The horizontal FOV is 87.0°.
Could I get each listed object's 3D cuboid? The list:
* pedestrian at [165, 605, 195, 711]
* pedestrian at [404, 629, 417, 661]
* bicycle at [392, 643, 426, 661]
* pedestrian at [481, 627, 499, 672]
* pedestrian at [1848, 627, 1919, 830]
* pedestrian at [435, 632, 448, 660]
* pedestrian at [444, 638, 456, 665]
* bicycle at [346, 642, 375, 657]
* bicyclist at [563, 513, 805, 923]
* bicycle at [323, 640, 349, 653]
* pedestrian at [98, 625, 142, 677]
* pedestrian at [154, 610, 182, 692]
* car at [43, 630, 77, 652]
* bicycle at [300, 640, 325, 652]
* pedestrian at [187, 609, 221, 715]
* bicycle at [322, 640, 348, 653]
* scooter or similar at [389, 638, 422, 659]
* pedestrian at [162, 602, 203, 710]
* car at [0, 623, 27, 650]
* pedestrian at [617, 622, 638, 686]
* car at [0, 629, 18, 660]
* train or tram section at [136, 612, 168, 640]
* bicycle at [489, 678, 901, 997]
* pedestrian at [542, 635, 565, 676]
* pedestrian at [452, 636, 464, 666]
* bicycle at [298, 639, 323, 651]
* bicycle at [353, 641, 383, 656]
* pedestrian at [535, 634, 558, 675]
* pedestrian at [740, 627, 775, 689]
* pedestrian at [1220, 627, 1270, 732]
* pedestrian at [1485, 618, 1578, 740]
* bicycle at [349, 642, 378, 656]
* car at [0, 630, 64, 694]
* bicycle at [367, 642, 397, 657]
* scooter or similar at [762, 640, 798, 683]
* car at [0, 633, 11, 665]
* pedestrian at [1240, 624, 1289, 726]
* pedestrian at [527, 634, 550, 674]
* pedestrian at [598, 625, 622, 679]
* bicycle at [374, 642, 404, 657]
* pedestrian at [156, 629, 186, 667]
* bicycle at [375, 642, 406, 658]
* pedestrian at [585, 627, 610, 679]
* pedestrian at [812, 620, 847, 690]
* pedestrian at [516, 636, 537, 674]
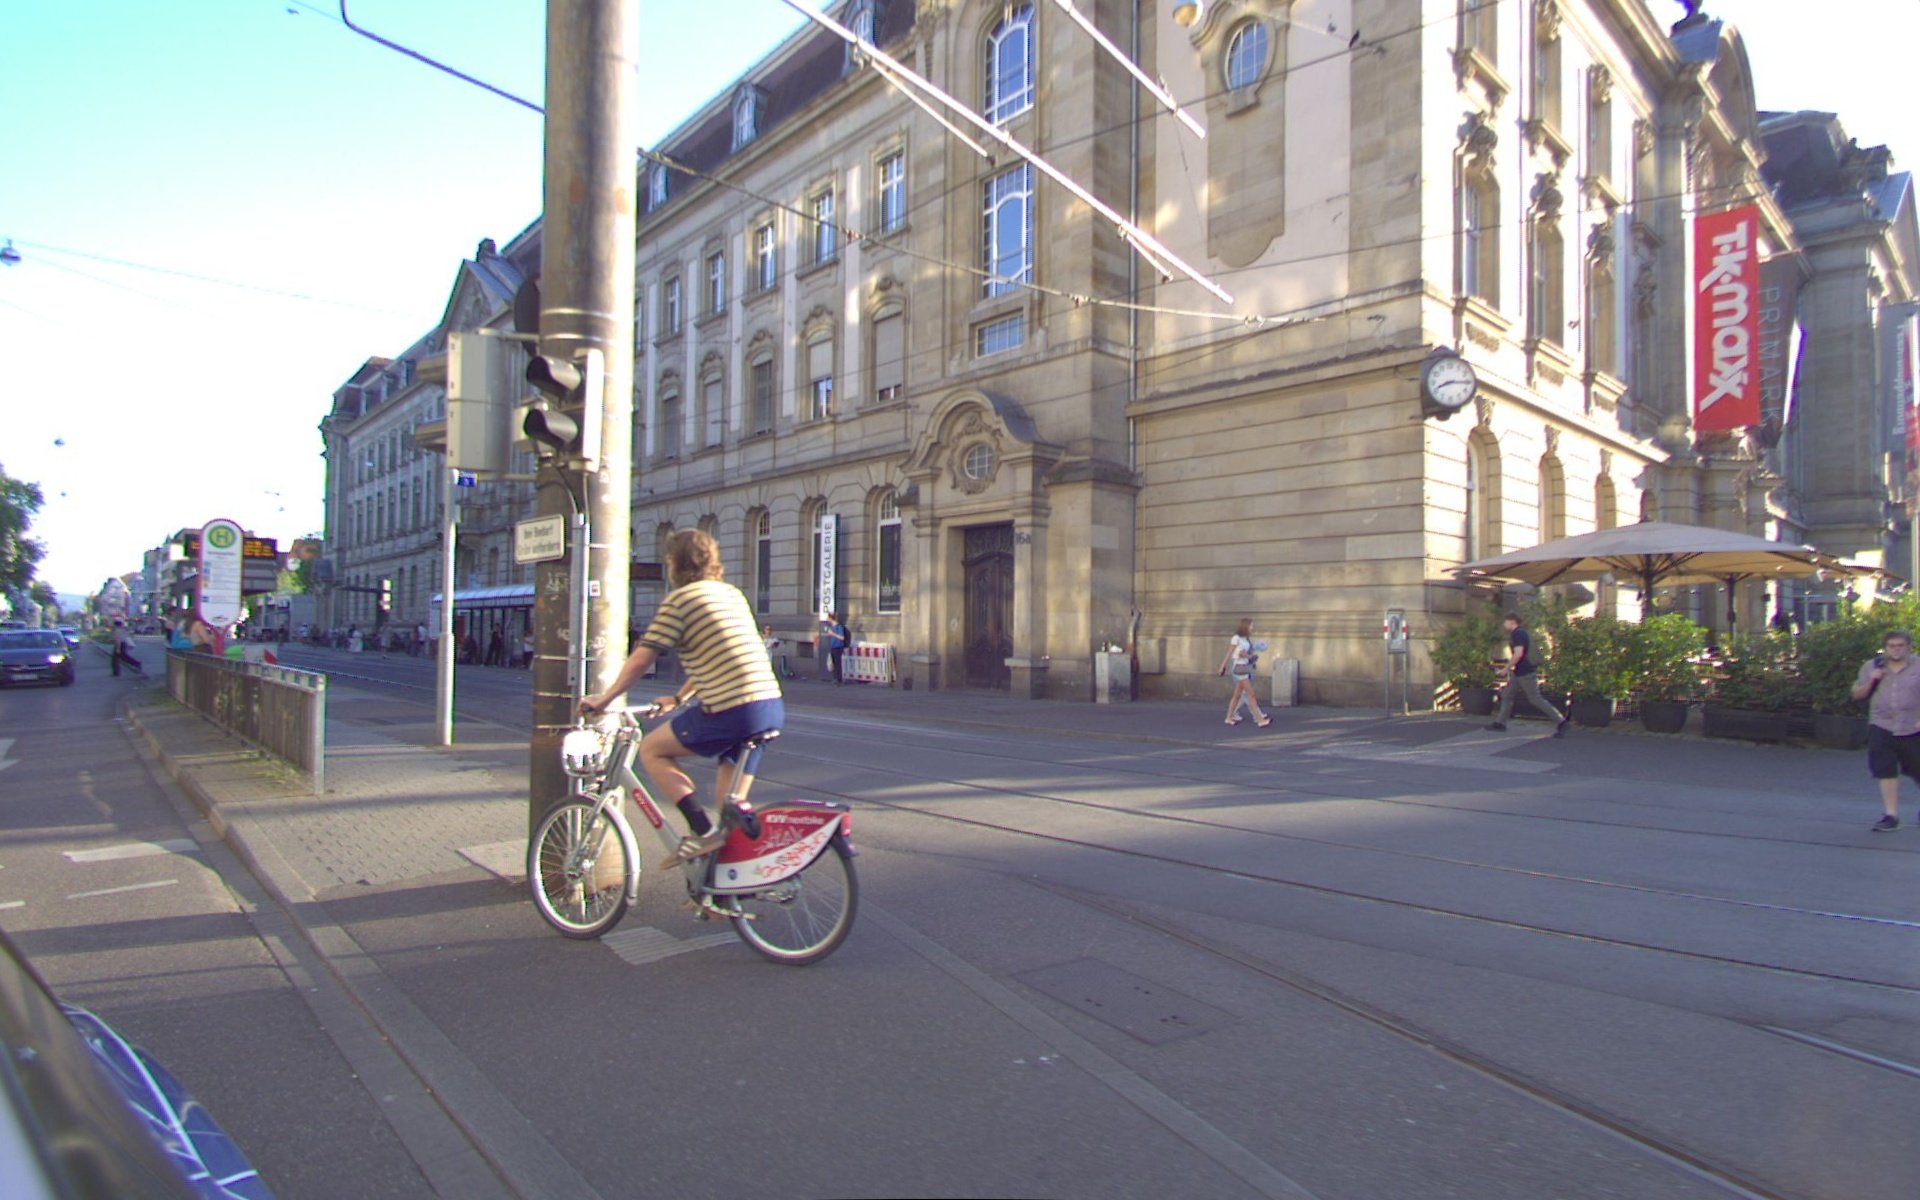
[{"bbox_3d":[-13.578,1.003,17.617,0.338,1.809,0.545,1,-2,-44],"label":"pedestrian"},{"bbox_3d":[-27.924,2.281,51.433,0.433,1.617,0.573,0,-1,-14],"label":"pedestrian"},{"bbox_3d":[-29.314,2.773,53.832,1.555,0.880,0.452,1,-1,-38],"label":"bicycle"},{"bbox_3d":[-17.653,1.853,37.997,0.510,1.663,0.640,1,-2,-20],"label":"pedestrian"},{"bbox_3d":[8.063,1.048,8.475,0.802,1.641,0.825,-1,-2,34],"label":"pedestrian"},{"bbox_3d":[-27.149,2.423,52.974,0.434,1.451,0.573,0,-1,-6],"label":"pedestrian"},{"bbox_3d":[-20.958,2.122,41.586,0.360,1.111,0.430,1,-1,-36],"label":"pedestrian"},{"bbox_3d":[-39.068,3.219,65.931,1.555,0.880,0.452,1,-1,-38],"label":"bicycle"},{"bbox_3d":[-1.175,0.469,4.391,0.785,1.605,0.606,0,-2,19],"label":"bicyclist"},{"bbox_3d":[-45.172,3.368,73.301,1.555,0.880,0.452,1,-1,-38],"label":"bicycle"},{"bbox_3d":[-26.753,1.622,32.251,0.955,1.641,0.693,1,-2,-31],"label":"pedestrian"},{"bbox_3d":[-17.370,1.108,22.205,0.407,1.781,0.595,1,-2,-44],"label":"pedestrian"},{"bbox_3d":[-66.624,3.021,74.909,1.784,1.494,4.288,-1,-1,-42],"label":"car"},{"bbox_3d":[-50.201,3.558,78.451,1.555,0.880,0.452,1,-1,-38],"label":"bicycle"},{"bbox_3d":[-12.045,0.972,16.128,0.352,1.654,0.503,1,-2,-44],"label":"pedestrian"},{"bbox_3d":[-44.842,3.355,72.628,1.555,0.880,0.452,1,-1,-38],"label":"bicycle"},{"bbox_3d":[-30.428,2.662,55.518,1.527,1.076,0.452,1,-1,-38],"label":"scooter or similar"},{"bbox_3d":[-13.112,0.931,17.077,0.532,1.781,0.596,1,-1,-37],"label":"pedestrian"},{"bbox_3d":[-73.978,2.818,78.732,1.830,2.083,5.222,3,-3,-42],"label":"car"},{"bbox_3d":[-9.401,1.513,28.579,0.461,1.790,0.563,1,-2,-28],"label":"pedestrian"},{"bbox_3d":[-52.913,2.441,55.359,1.711,1.602,4.450,-1,0,-39],"label":"car"},{"bbox_3d":[-128.531,4.098,160.840,2.860,3.713,13.499,6,-3,-42],"label":"train or tram section"},{"bbox_3d":[-1.129,0.934,4.369,1.612,1.112,0.626,1,-2,18],"label":"bicycle"},{"bbox_3d":[-13.333,1.815,33.185,0.511,1.337,0.639,2,-2,-39],"label":"pedestrian"},{"bbox_3d":[-20.082,2.030,40.448,0.360,1.209,0.430,1,-1,-36],"label":"pedestrian"},{"bbox_3d":[-49.784,3.458,77.573,1.555,0.880,0.452,1,-1,-38],"label":"bicycle"},{"bbox_3d":[-37.064,3.056,63.380,1.555,0.880,0.452,1,-1,-38],"label":"bicycle"},{"bbox_3d":[-13.803,1.826,33.777,0.511,1.337,0.639,2,-2,-39],"label":"pedestrian"},{"bbox_3d":[-5.393,1.535,27.010,0.691,1.626,0.631,1,-2,-44],"label":"pedestrian"},{"bbox_3d":[4.296,1.175,15.246,0.518,1.537,0.504,1,-2,-35],"label":"pedestrian"},{"bbox_3d":[8.071,1.089,14.301,0.680,1.641,0.973,2,-3,-43],"label":"pedestrian"},{"bbox_3d":[-38.037,3.110,64.525,1.555,0.880,0.452,1,-1,-38],"label":"bicycle"},{"bbox_3d":[-24.530,1.576,26.384,1.713,1.515,4.005,1,-1,-42],"label":"car"},{"bbox_3d":[-35.870,3.039,62.797,1.555,0.880,0.452,1,-1,-38],"label":"bicycle"},{"bbox_3d":[-5.314,1.803,29.824,0.480,1.191,1.295,1,-1,-40],"label":"scooter or similar"},{"bbox_3d":[-48.945,2.481,50.897,1.711,1.522,4.870,-1,0,-42],"label":"car"},{"bbox_3d":[4.716,1.149,15.674,0.511,1.537,0.502,2,-3,-38],"label":"pedestrian"},{"bbox_3d":[-14.335,1.839,34.418,0.511,1.337,0.639,2,-2,-39],"label":"pedestrian"},{"bbox_3d":[-10.988,1.621,31.781,0.511,1.658,0.639,2,-2,-39],"label":"pedestrian"},{"bbox_3d":[-34.808,3.000,61.678,1.555,0.880,0.452,1,-1,-38],"label":"bicycle"},{"bbox_3d":[-31.717,1.919,40.673,0.836,1.512,0.902,2,-3,-43],"label":"pedestrian"},{"bbox_3d":[-33.804,2.959,60.056,1.555,0.880,0.452,1,-1,-38],"label":"bicycle"},{"bbox_3d":[-11.145,1.627,31.109,0.511,1.581,0.639,2,-2,-39],"label":"pedestrian"},{"bbox_3d":[-3.457,1.441,26.730,0.706,1.790,0.613,-2,-3,44],"label":"pedestrian"},{"bbox_3d":[-15.709,1.984,36.653,0.511,1.337,0.639,2,-2,-39],"label":"pedestrian"}]
